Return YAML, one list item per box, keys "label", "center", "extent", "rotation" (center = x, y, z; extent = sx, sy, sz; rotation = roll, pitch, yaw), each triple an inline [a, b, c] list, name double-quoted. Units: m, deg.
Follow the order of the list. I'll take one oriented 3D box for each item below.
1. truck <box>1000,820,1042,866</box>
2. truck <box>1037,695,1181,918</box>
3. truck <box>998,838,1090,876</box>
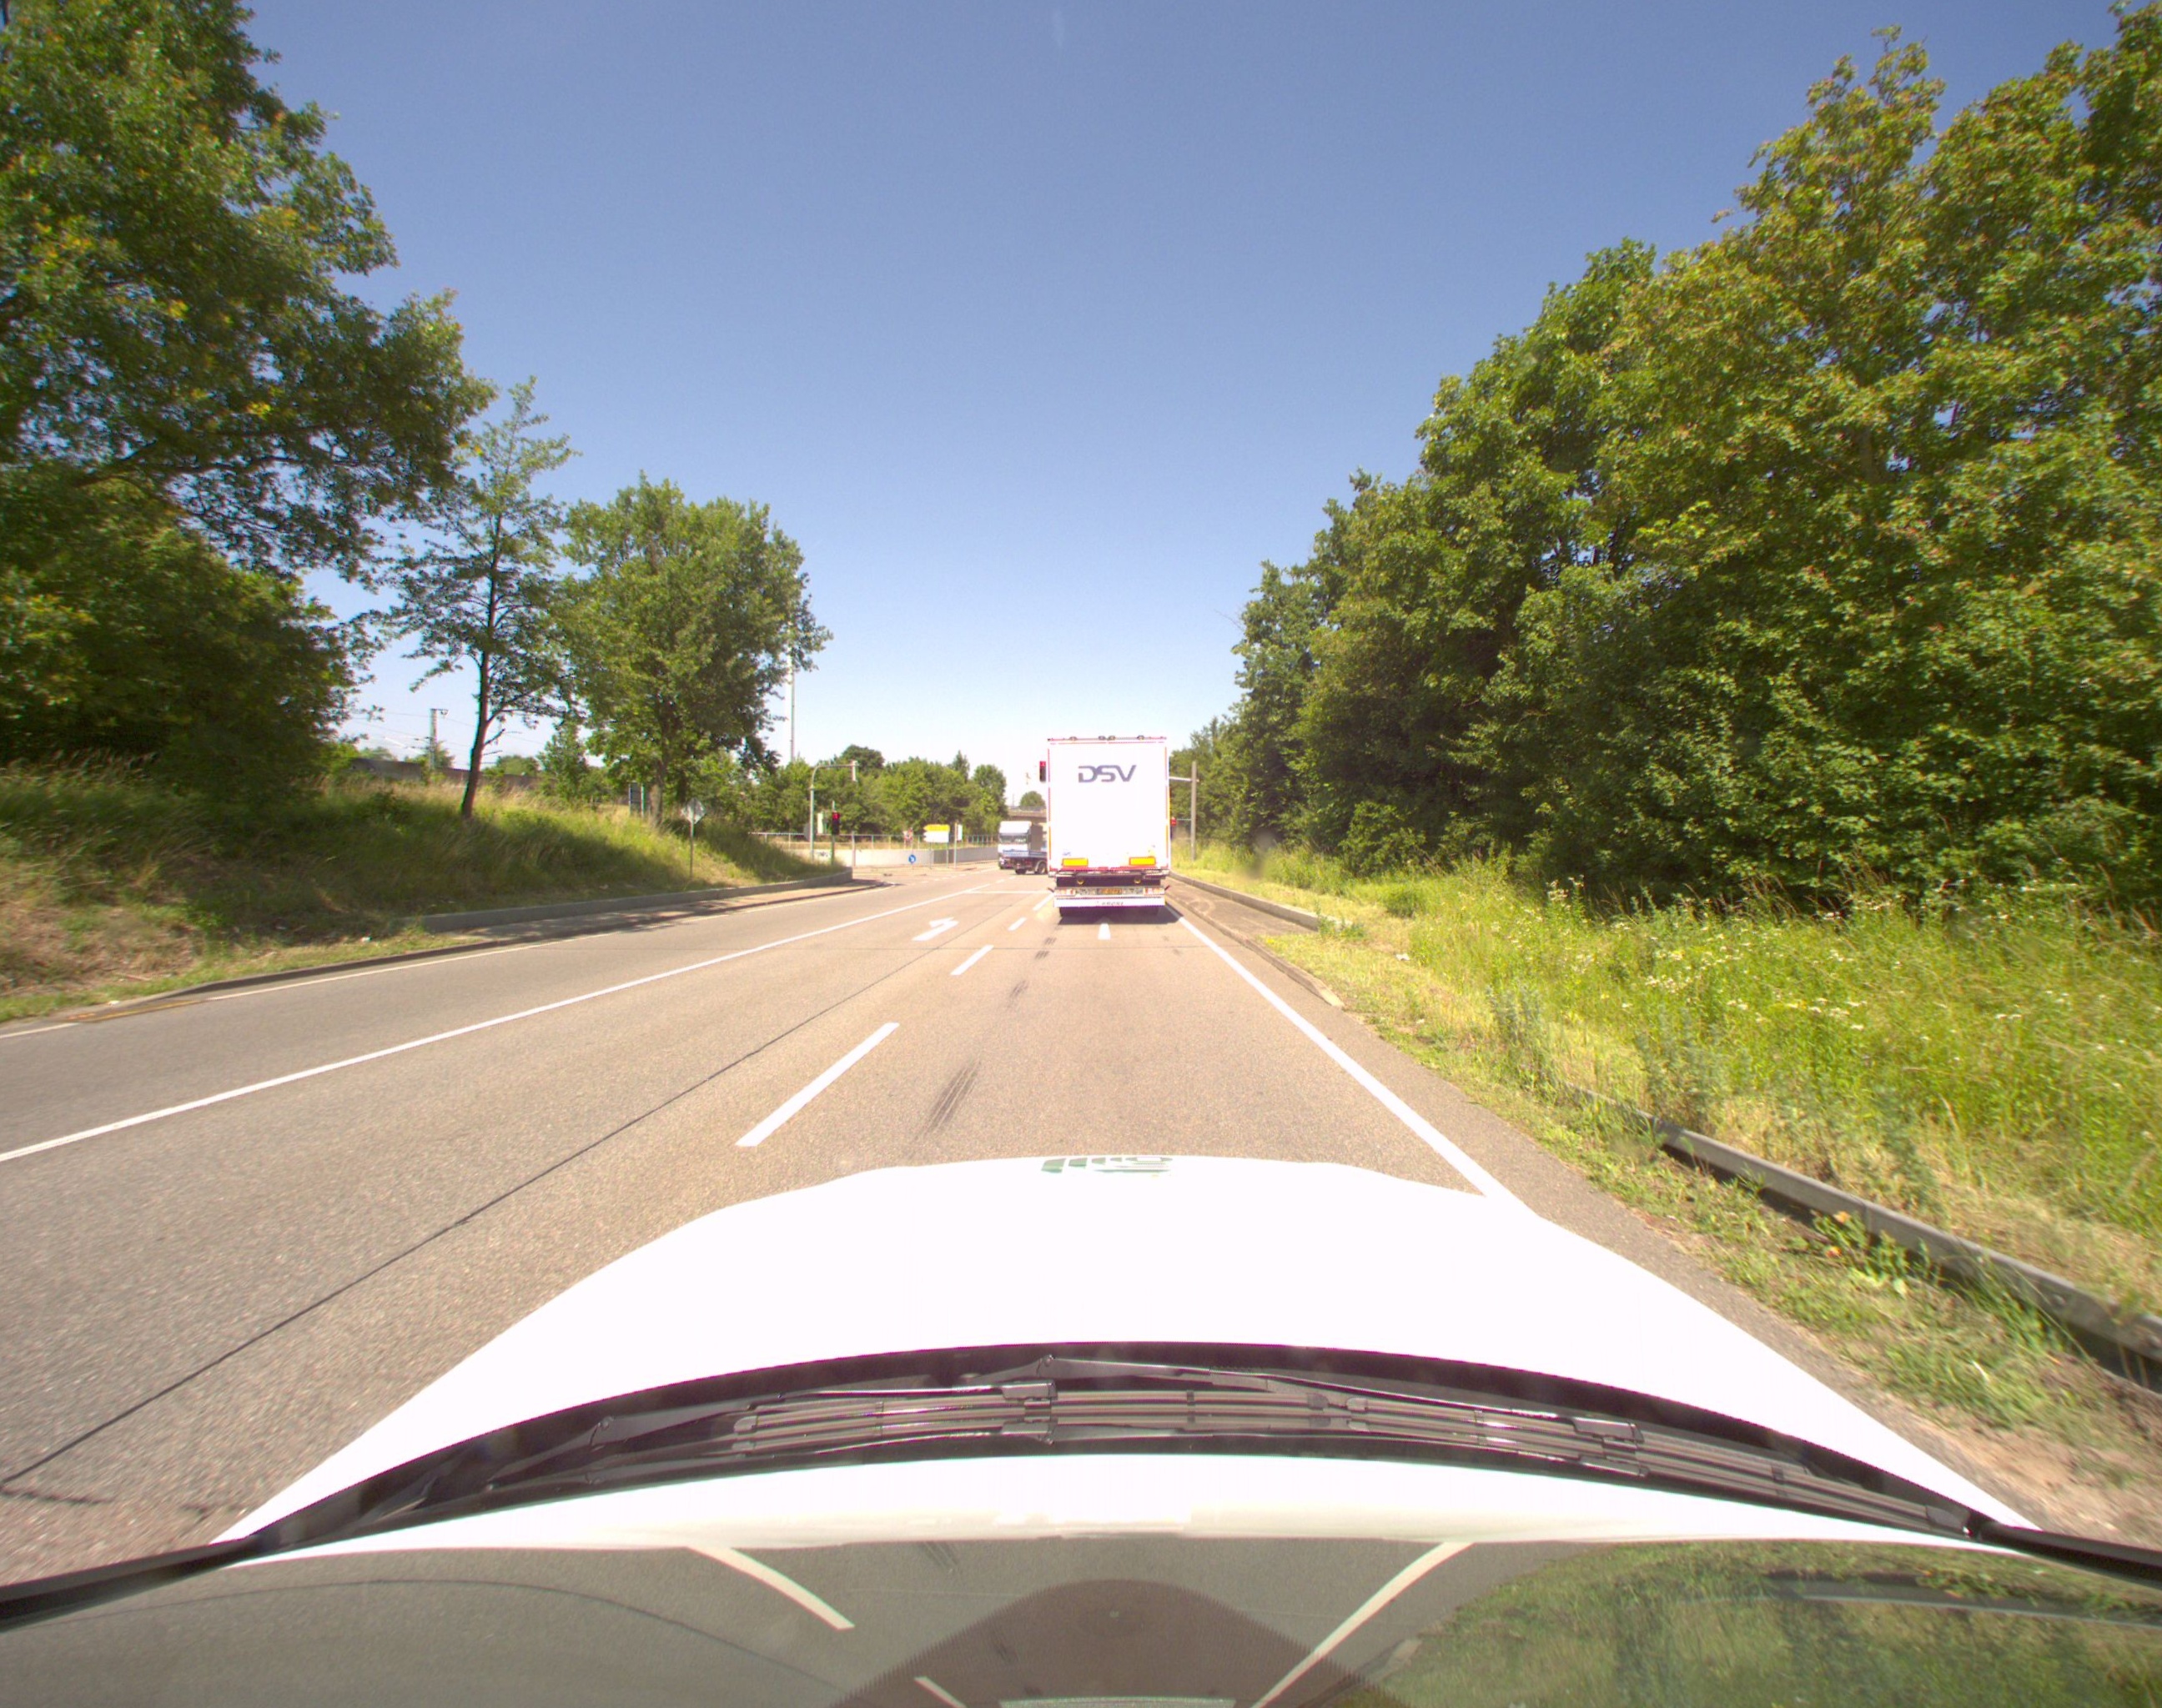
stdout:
- label: "truck"
  center: [-5.263, -0.971, 73.326]
  extent: [2.344, 3.749, 12.632]
  rotation: [-1, 1, 2]
- label: "truck"
  center: [0.778, -0.991, 21.744]
  extent: [2.938, 4.568, 9.868]
  rotation: [-1, 0, 2]
- label: "truck"
  center: [-2.477, 0.163, 56.596]
  extent: [2.680, 2.499, 6.472]
  rotation: [0, 0, 40]
